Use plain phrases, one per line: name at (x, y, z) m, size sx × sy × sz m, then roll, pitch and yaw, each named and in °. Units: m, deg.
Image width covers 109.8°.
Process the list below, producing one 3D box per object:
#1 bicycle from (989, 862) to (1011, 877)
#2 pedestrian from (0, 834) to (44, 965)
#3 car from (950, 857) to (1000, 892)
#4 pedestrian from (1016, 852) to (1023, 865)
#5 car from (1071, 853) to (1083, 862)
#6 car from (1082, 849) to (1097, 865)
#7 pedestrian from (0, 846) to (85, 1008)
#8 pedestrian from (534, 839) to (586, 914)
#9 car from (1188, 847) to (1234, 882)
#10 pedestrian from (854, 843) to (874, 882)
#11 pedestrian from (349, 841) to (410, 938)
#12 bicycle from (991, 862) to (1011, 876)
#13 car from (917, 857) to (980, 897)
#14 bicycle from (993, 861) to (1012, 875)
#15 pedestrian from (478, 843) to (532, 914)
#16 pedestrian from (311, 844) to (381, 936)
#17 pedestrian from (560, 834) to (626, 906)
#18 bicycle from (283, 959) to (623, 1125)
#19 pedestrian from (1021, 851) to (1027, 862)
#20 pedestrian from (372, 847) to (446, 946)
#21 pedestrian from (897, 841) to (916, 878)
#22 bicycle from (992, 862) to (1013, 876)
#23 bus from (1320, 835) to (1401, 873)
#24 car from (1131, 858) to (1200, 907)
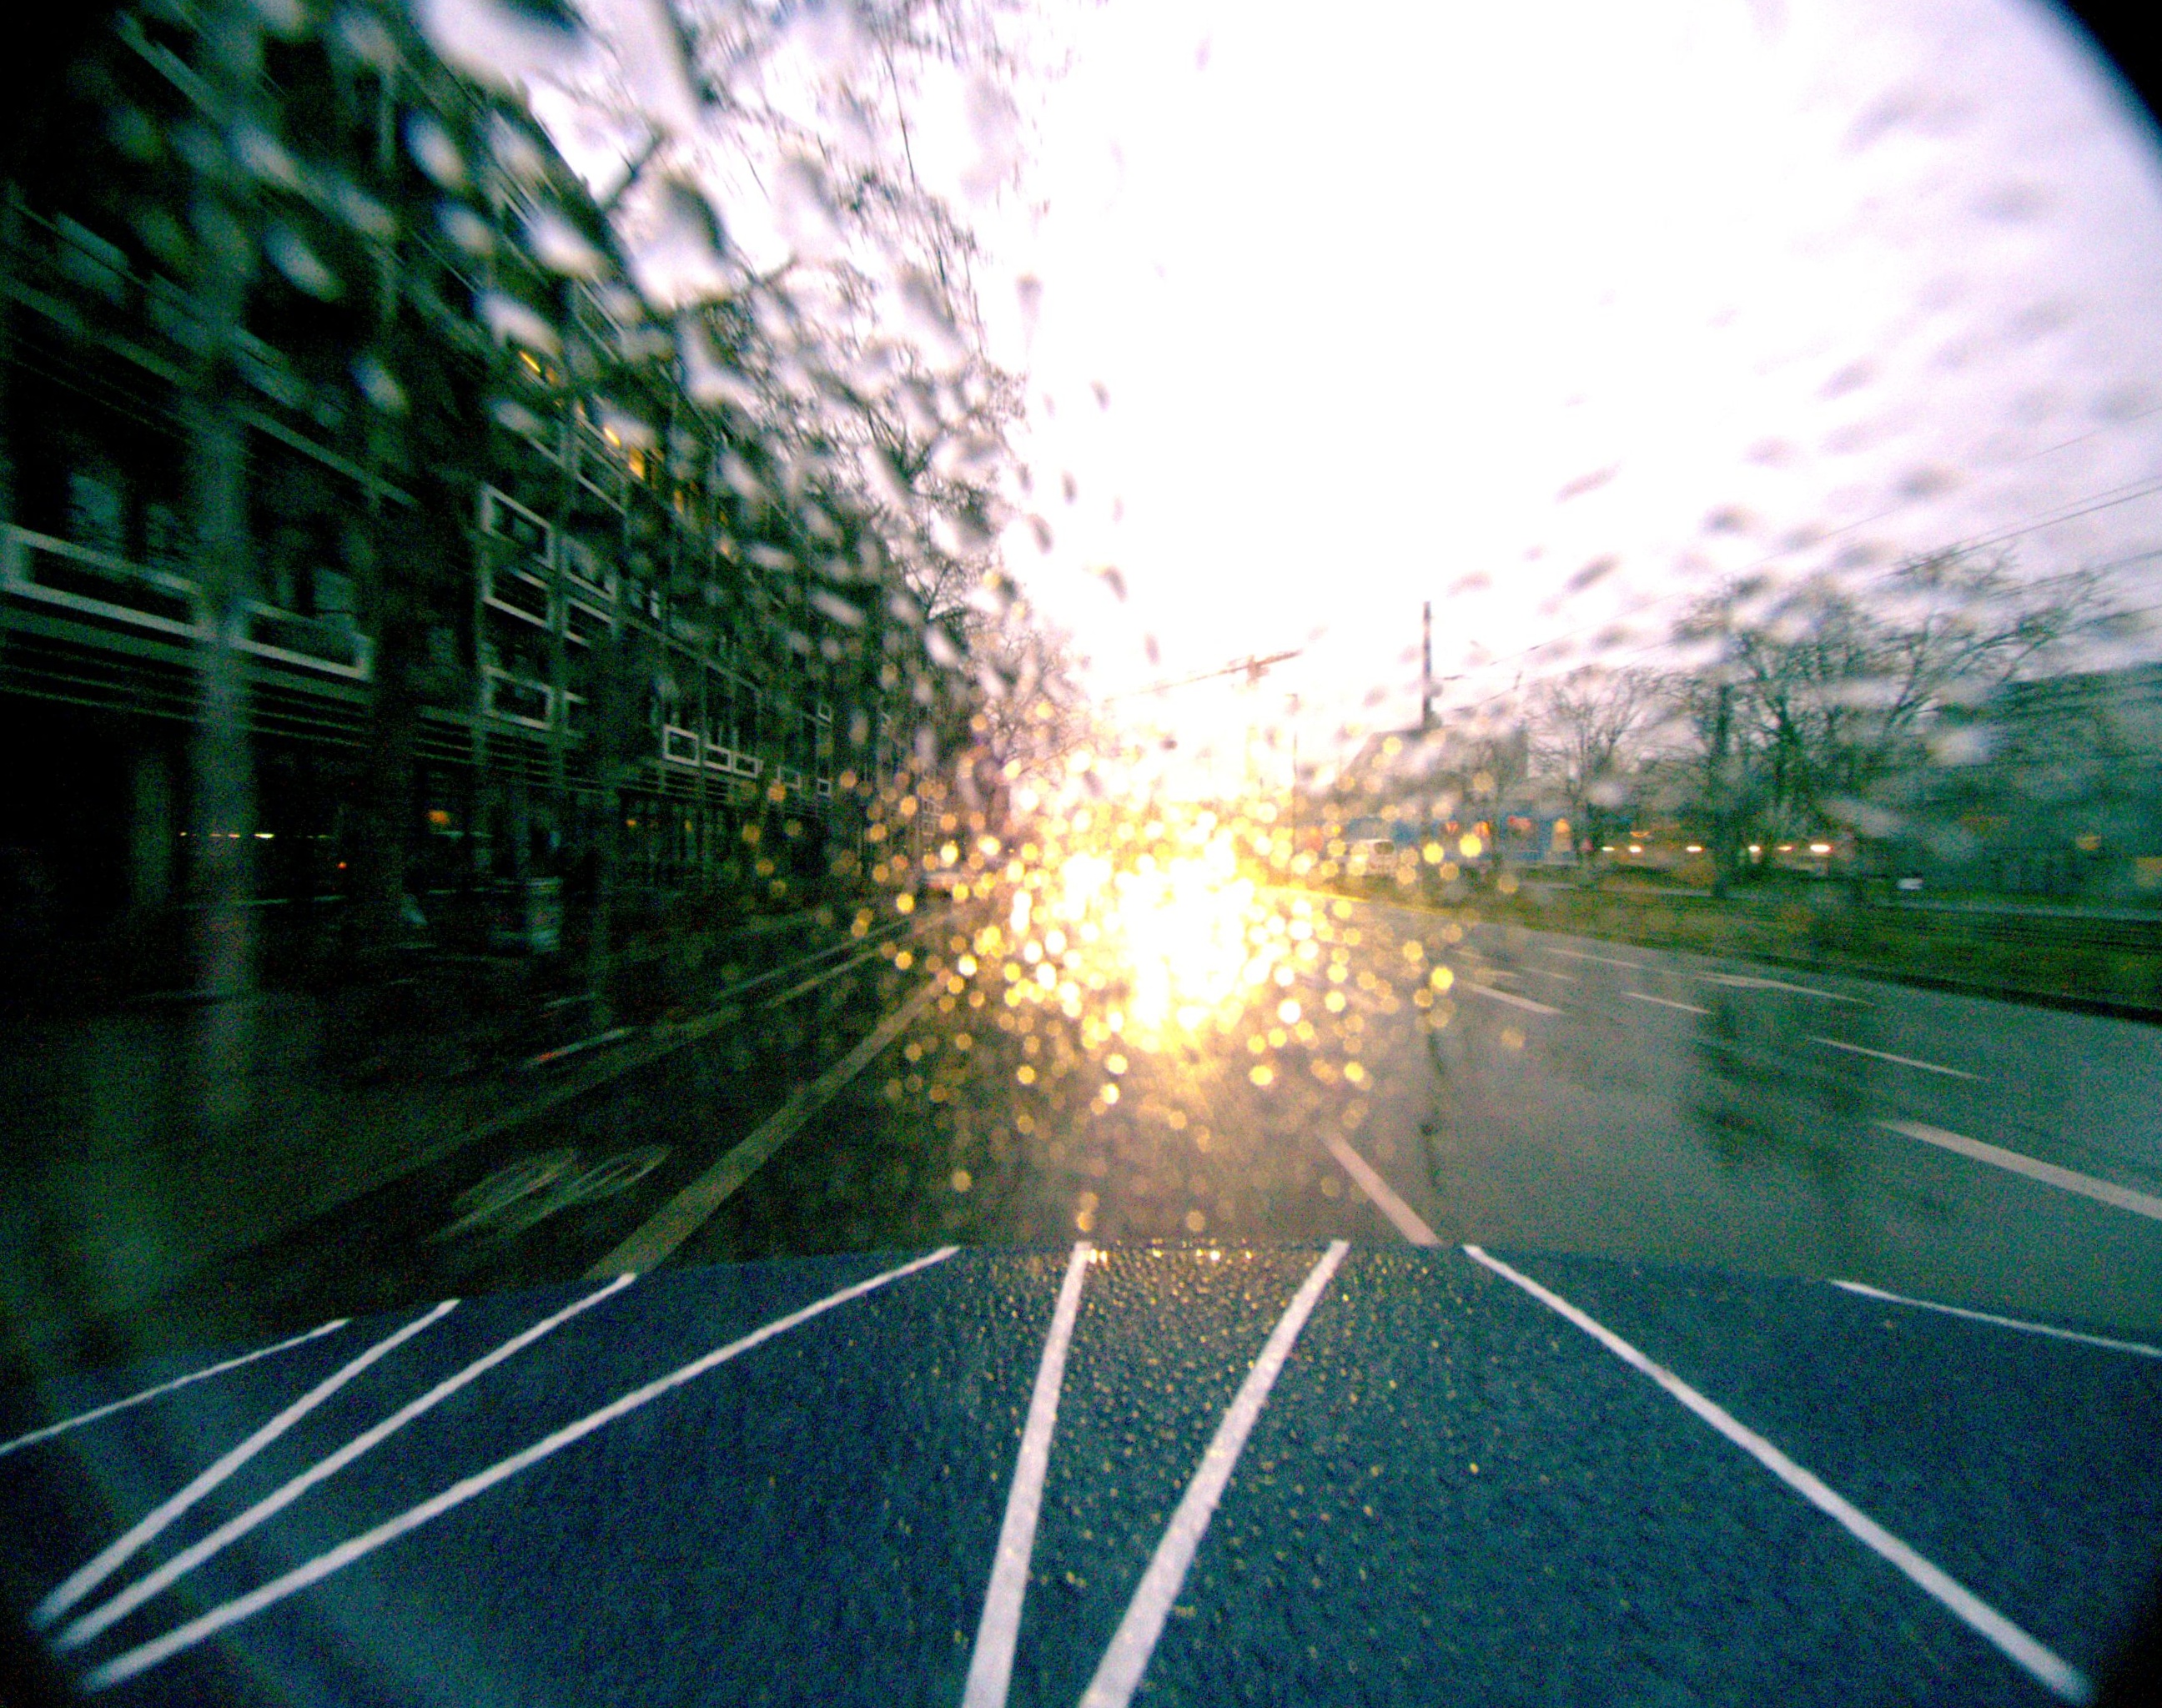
bicycle at (-5.785, 1.115, 54.439) m, size 1.523 × 1.030 × 0.469 m, roll -1°, pitch 1°, yaw -6°
pedestrian at (-13.840, 0.566, 9.518) m, size 0.617 × 1.646 × 0.780 m, roll 0°, pitch 1°, yaw 2°
car at (-5.014, 0.951, 36.489) m, size 1.764 × 1.539 × 4.019 m, roll 0°, pitch 0°, yaw 1°
pedestrian at (-9.150, 0.657, 113.155) m, size 0.838 × 2.002 × 0.771 m, roll -1°, pitch 1°, yaw 1°
car at (-0.626, 0.585, 127.187) m, size 1.858 × 1.591 × 4.001 m, roll 0°, pitch -1°, yaw 2°
car at (1.104, 0.361, 97.960) m, size 1.858 × 2.001 × 4.001 m, roll 0°, pitch -1°, yaw 2°
pedestrian at (-10.560, 0.690, 7.498) m, size 0.649 × 1.535 × 0.615 m, roll 0°, pitch 1°, yaw 3°
pedestrian at (-12.284, 0.520, 17.949) m, size 0.660 × 1.708 × 0.842 m, roll 0°, pitch 1°, yaw -3°
car at (6.726, 0.519, 39.824) m, size 1.707 × 1.733 × 4.612 m, roll 0°, pitch 0°, yaw 1°
pedestrian at (-11.448, 0.437, 40.130) m, size 0.822 × 2.002 × 0.736 m, roll 0°, pitch 1°, yaw 0°
pedestrian at (-12.307, 0.613, 13.346) m, size 0.379 × 1.658 × 0.713 m, roll 0°, pitch 1°, yaw 2°
bicycle at (-6.025, 1.104, 57.364) m, size 1.523 × 1.030 × 0.469 m, roll -1°, pitch 1°, yaw -6°
car at (-5.354, 0.890, 31.083) m, size 1.607 × 1.424 × 3.931 m, roll 3°, pitch 1°, yaw 4°
bicycle at (-6.250, 1.099, 60.460) m, size 1.523 × 1.030 × 0.469 m, roll -1°, pitch 1°, yaw -6°
pedestrian at (-13.592, 0.565, 17.952) m, size 0.641 × 1.645 × 0.842 m, roll 0°, pitch 1°, yaw -3°
pedestrian at (-12.851, 0.616, 13.304) m, size 0.484 × 1.555 × 0.745 m, roll 0°, pitch 1°, yaw 1°
pedestrian at (-10.594, 0.339, 16.523) m, size 0.866 × 1.515 × 0.838 m, roll 0°, pitch 1°, yaw 2°
bicycle at (-4.285, 1.277, 5.274) m, size 1.792 × 0.968 × 0.617 m, roll 2°, pitch 1°, yaw -2°
pedestrian at (-10.068, 0.404, 134.612) m, size 0.838 × 2.002 × 0.771 m, roll -1°, pitch 1°, yaw 1°
pedestrian at (-11.713, 0.717, 13.267) m, size 0.501 × 1.658 × 0.873 m, roll 0°, pitch 1°, yaw 2°
pedestrian at (-9.676, 0.290, 42.171) m, size 0.791 × 2.002 × 1.024 m, roll 0°, pitch 0°, yaw 1°
bicycle at (-5.763, 1.108, 55.967) m, size 1.523 × 1.030 × 0.469 m, roll -1°, pitch 1°, yaw -6°
bus at (27.986, -0.048, 76.836) m, size 2.815 × 3.556 × 12.300 m, roll 0°, pitch 0°, yaw -4°
car at (2.766, 0.906, 25.717) m, size 1.778 × 1.466 × 4.129 m, roll -1°, pitch 0°, yaw -1°
